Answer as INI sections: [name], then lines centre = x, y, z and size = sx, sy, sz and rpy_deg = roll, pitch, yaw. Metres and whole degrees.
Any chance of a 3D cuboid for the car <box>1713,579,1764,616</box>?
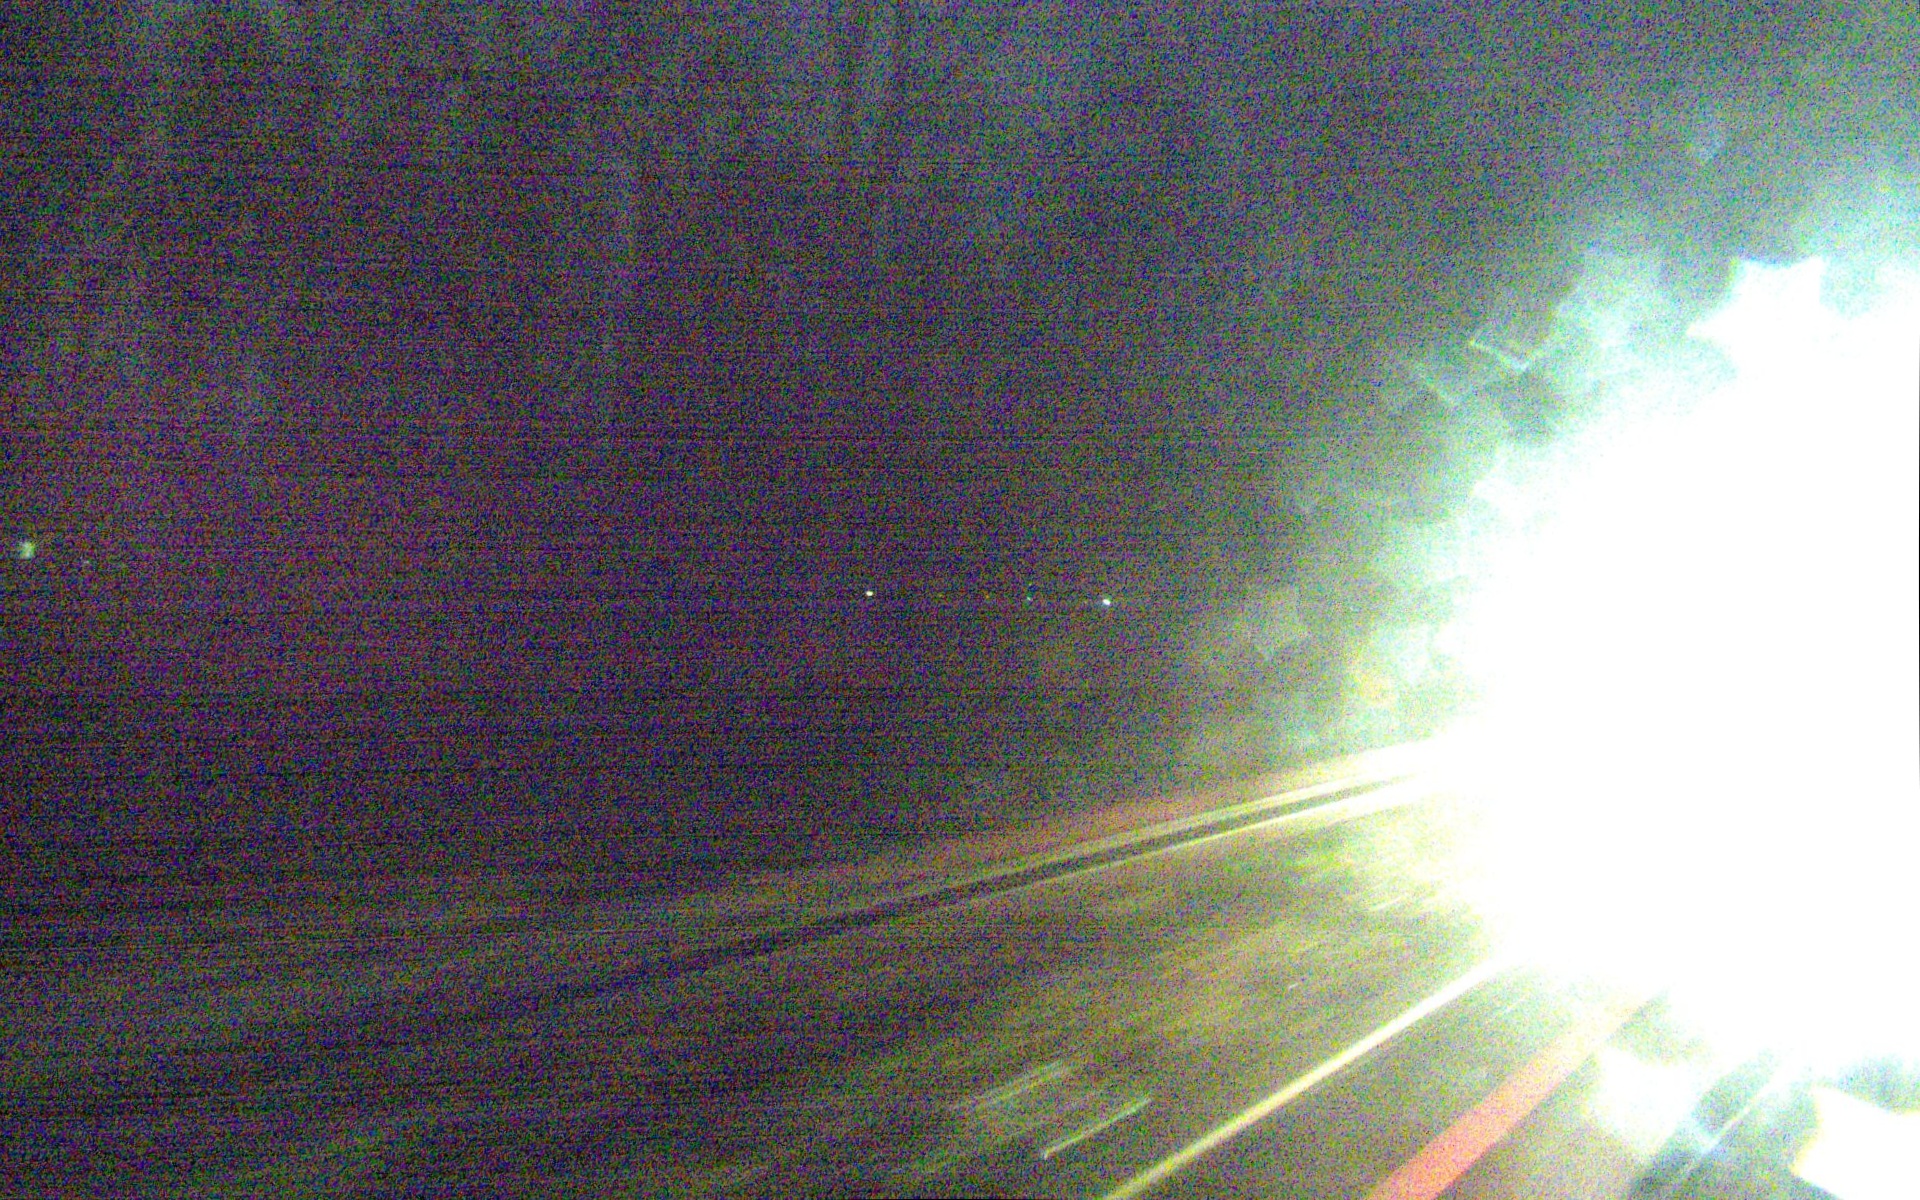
[car]
centre = 39.177, -0.154, 51.012
size = 1.773, 1.727, 3.951
rpy_deg = -2, 0, 35
